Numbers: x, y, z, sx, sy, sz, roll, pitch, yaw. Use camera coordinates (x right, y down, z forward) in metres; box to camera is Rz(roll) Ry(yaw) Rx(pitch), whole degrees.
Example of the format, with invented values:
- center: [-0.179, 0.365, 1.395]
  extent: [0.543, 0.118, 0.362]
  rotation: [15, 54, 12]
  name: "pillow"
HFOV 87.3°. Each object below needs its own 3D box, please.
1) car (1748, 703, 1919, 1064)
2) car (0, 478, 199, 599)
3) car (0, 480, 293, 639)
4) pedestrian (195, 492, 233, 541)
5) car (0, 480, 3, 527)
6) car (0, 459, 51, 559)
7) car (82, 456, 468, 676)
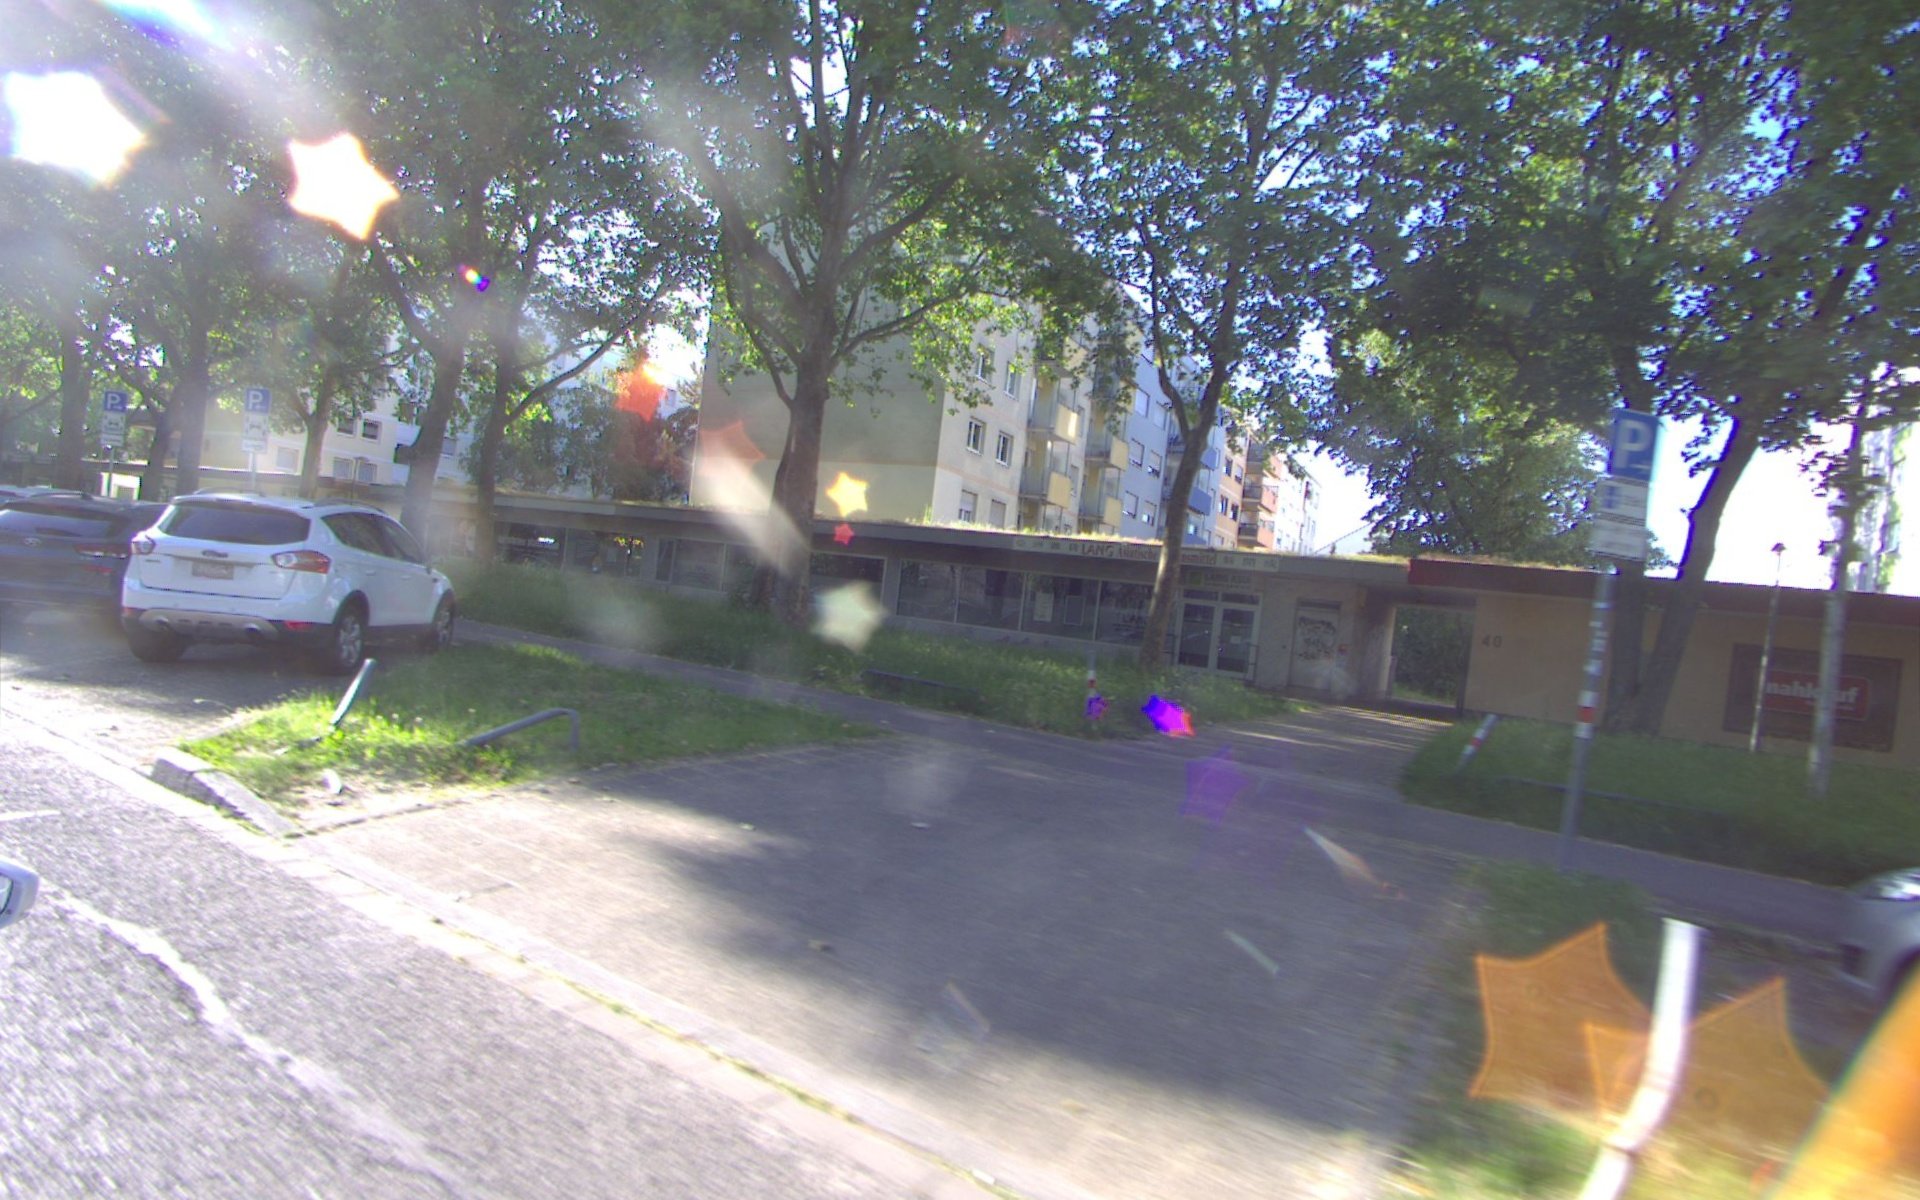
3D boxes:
- center: [5.048, 1.334, 3.060]
  extent: [1.562, 1.390, 3.926]
  rotation: [6, 1, -14]
  name: "car"
- center: [-12.721, -0.893, 14.324]
  extent: [1.625, 1.467, 3.615]
  rotation: [6, 1, -14]
  name: "car"
- center: [-9.763, -0.488, 11.972]
  extent: [1.624, 1.489, 3.778]
  rotation: [6, 1, -11]
  name: "car"
- center: [-32.070, -3.575, 43.255]
  extent: [0.855, 1.938, 0.875]
  rotation: [7, 1, 23]
  name: "pedestrian"
- center: [-21.495, -1.904, 19.742]
  extent: [1.621, 1.500, 4.080]
  rotation: [6, 1, -4]
  name: "car"
- center: [-18.348, -1.742, 17.501]
  extent: [1.622, 1.834, 4.078]
  rotation: [6, 1, -8]
  name: "car"
- center: [-6.923, -0.332, 10.760]
  extent: [1.730, 1.727, 4.020]
  rotation: [6, 1, -9]
  name: "car"
